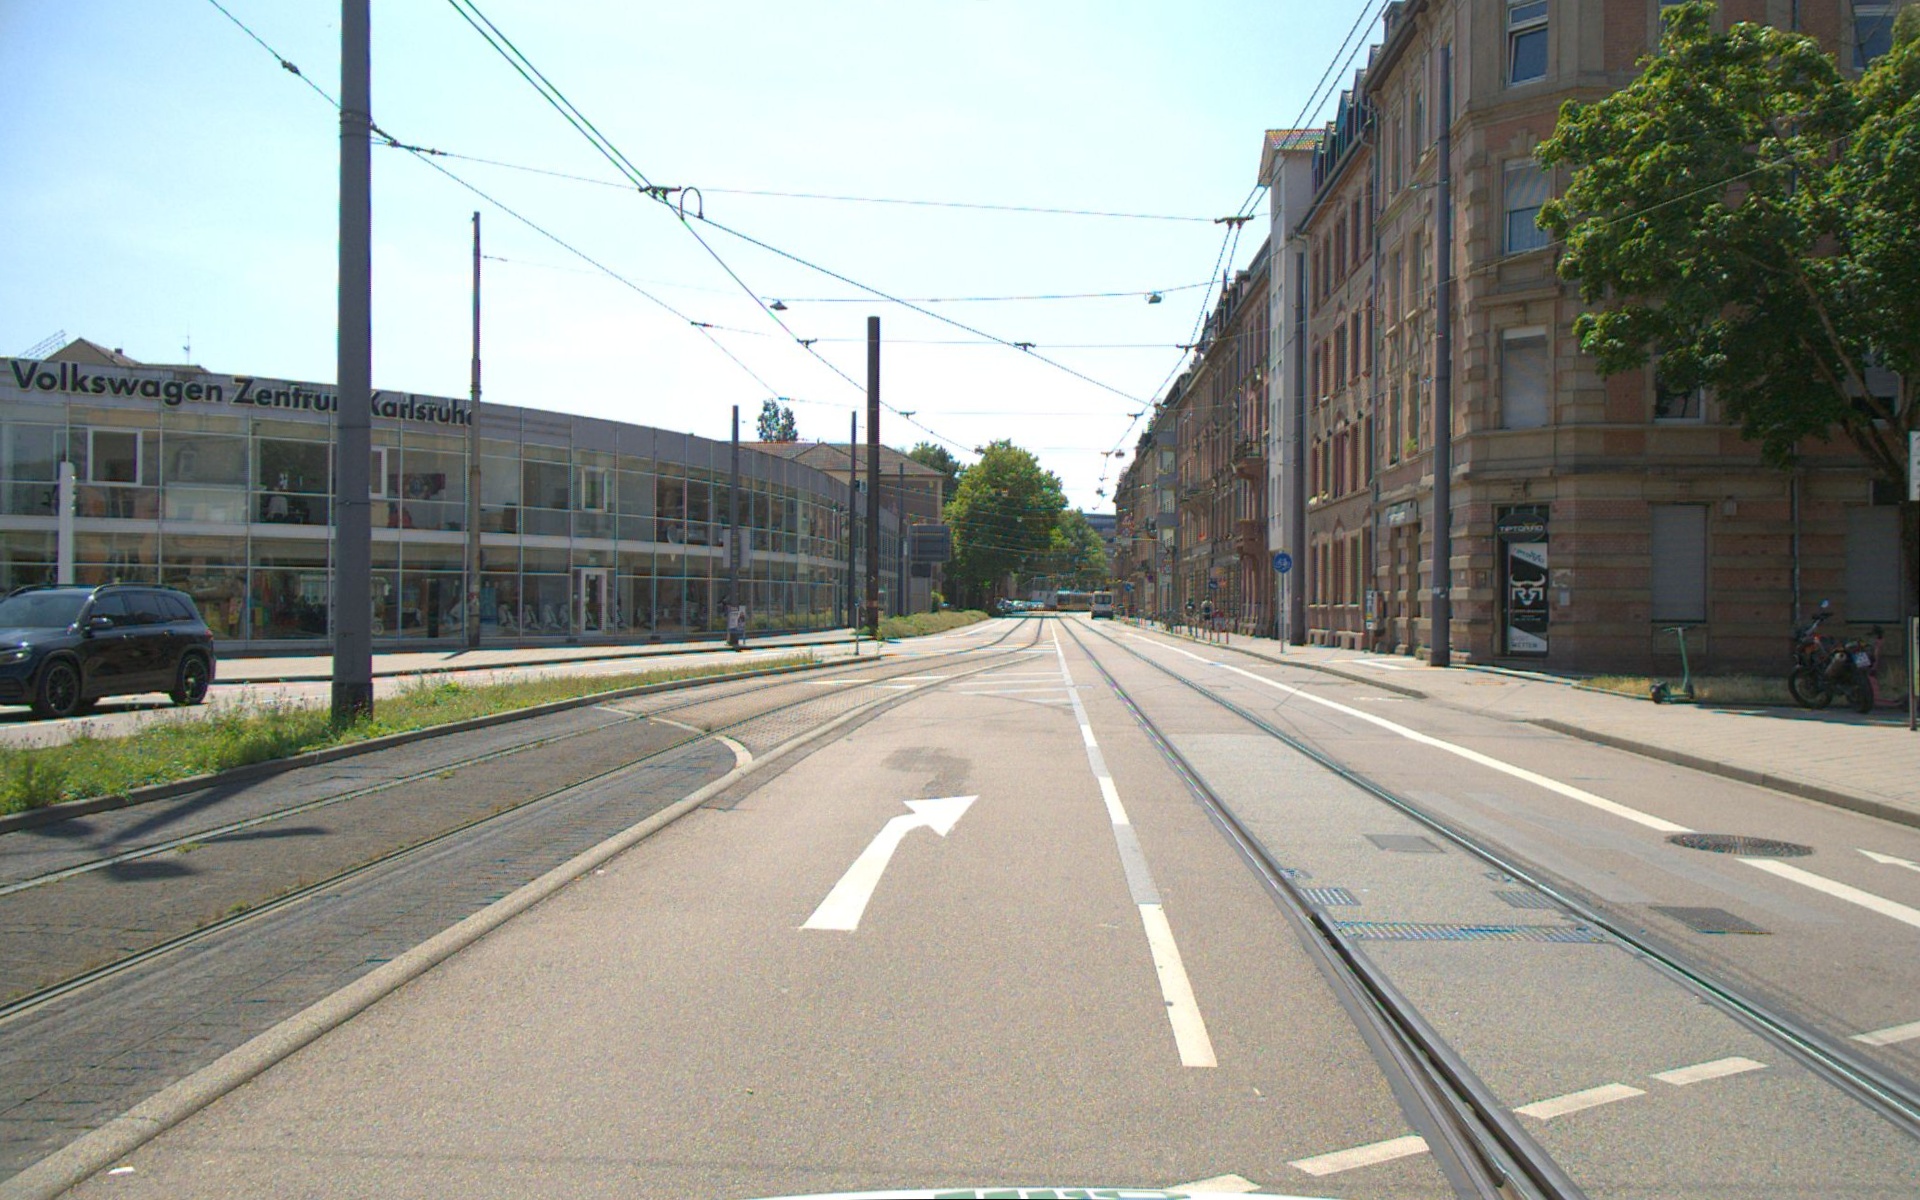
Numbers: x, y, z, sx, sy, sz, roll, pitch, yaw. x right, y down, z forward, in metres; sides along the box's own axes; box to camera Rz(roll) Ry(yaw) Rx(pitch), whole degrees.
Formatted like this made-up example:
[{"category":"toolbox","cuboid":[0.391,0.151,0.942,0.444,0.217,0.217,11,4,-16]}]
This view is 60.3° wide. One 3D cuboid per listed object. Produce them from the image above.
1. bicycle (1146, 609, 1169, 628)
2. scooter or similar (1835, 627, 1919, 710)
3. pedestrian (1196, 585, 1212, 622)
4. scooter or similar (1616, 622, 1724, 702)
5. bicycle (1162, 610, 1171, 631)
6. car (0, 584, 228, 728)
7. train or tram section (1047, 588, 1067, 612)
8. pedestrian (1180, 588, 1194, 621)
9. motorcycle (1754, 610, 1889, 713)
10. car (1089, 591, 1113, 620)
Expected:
[{"category":"bicycle","cuboid":[11.820,1.093,98.929,0.490,1.150,2.238,0,0,31]},{"category":"scooter or similar","cuboid":[13.513,0.988,24.185,0.589,1.172,1.377,0,-1,-6]},{"category":"pedestrian","cuboid":[12.889,0.191,87.413,0.688,1.881,0.644,-3,-1,4]},{"category":"scooter or similar","cuboid":[10.807,0.922,25.183,1.501,1.176,0.709,0,0,-26]},{"category":"bicycle","cuboid":[11.410,1.123,91.406,0.438,1.116,2.424,0,0,8]},{"category":"car","cuboid":[-11.549,0.662,21.347,1.783,1.655,4.528,-1,0,6]},{"category":"train or tram section","cuboid":[15.333,-0.017,262.697,2.899,3.643,13.427,1,0,3]},{"category":"pedestrian","cuboid":[12.012,0.231,87.651,0.705,1.750,0.644,0,0,4]},{"category":"motorcycle","cuboid":[12.341,0.849,23.806,0.747,1.386,2.597,0,-1,4]},{"category":"car","cuboid":[13.057,0.524,153.416,2.024,2.544,5.457,1,0,4]}]
